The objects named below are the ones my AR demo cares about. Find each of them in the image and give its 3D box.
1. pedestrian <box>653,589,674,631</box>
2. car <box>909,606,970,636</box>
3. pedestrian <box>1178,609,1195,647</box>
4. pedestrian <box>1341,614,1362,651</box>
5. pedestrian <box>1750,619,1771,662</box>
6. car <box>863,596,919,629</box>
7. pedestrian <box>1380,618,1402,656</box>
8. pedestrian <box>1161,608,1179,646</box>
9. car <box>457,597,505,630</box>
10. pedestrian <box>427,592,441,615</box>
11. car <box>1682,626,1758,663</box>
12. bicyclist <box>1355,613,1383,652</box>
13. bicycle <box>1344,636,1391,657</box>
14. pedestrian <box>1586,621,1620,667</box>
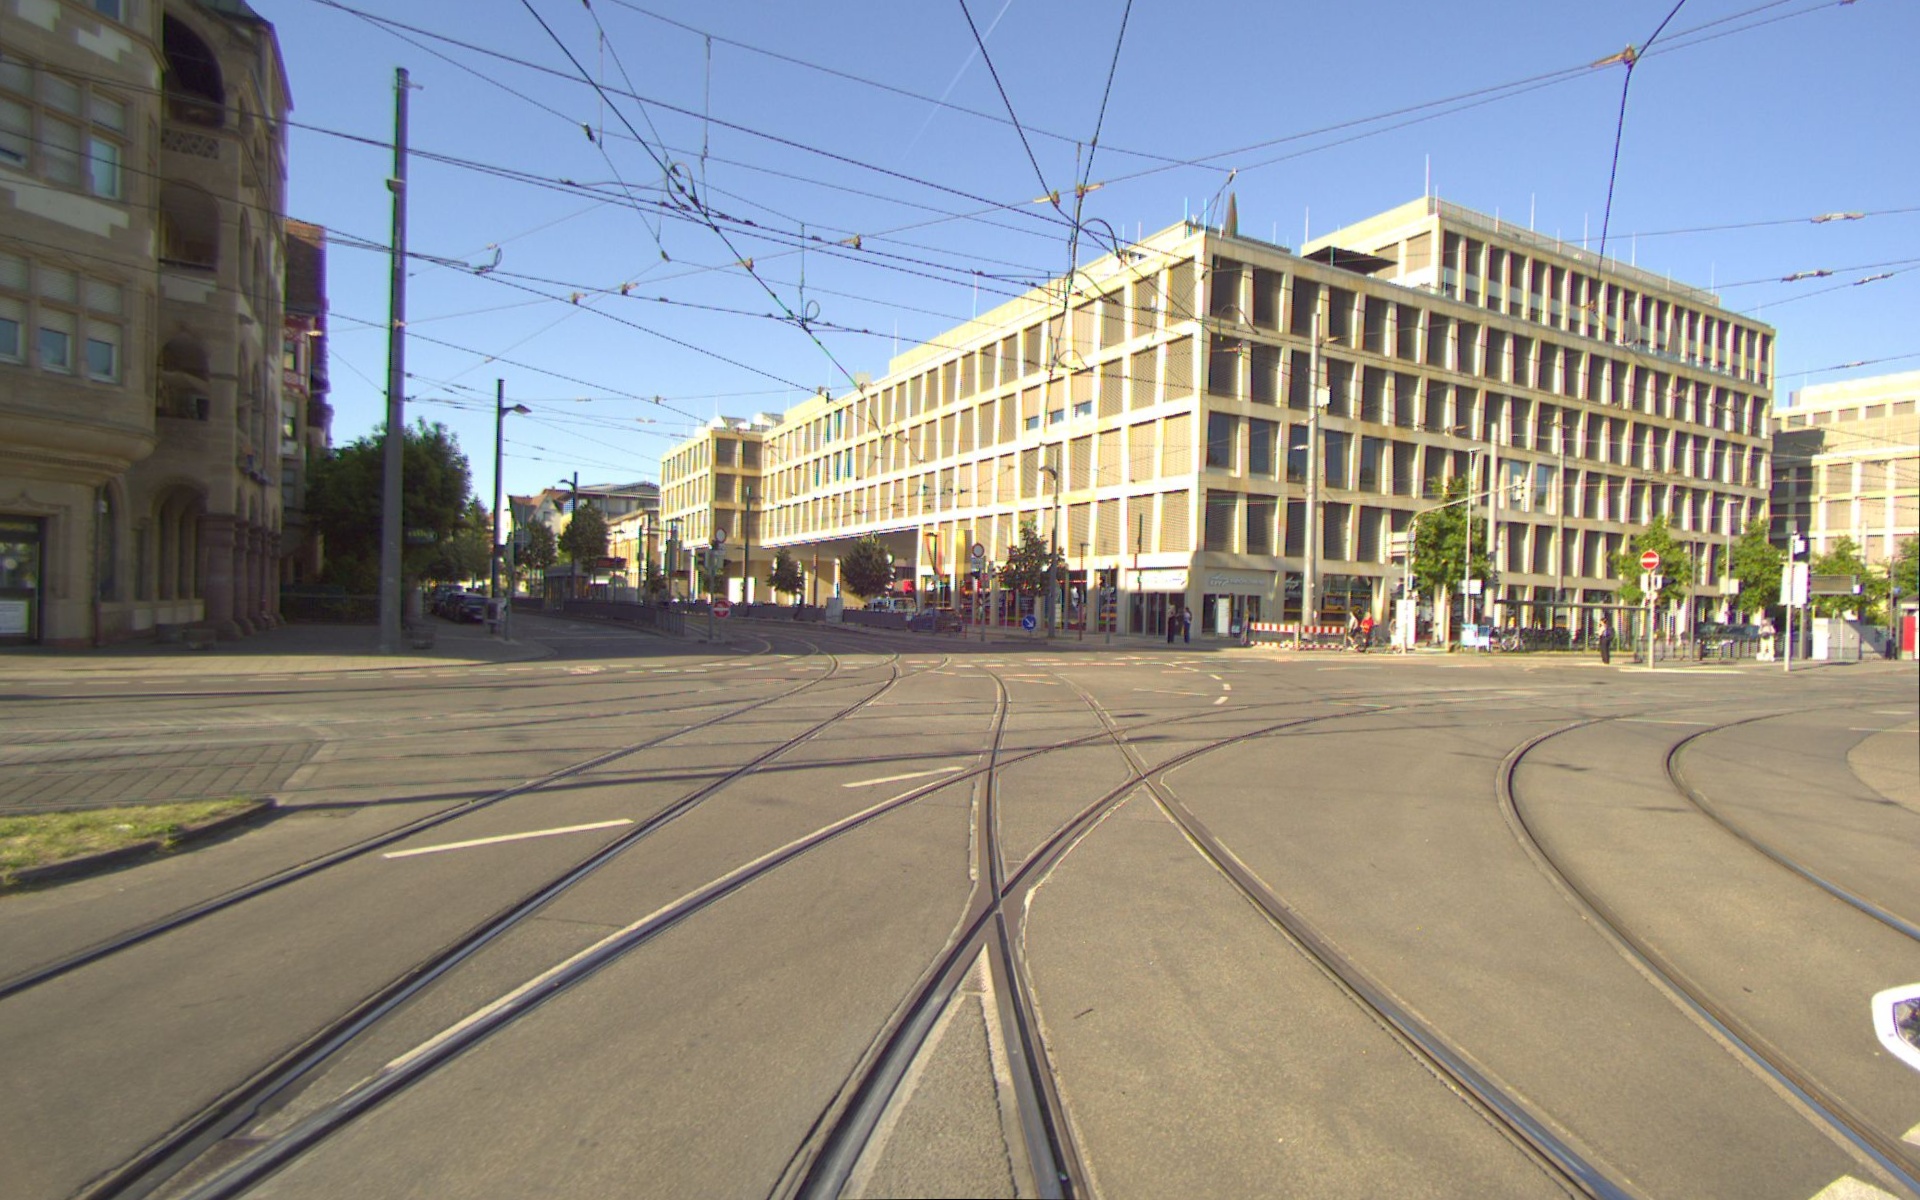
[{"bbox_3d":[-14.319,0.492,48.482,0.864,1.991,0.545,1,0,-28],"label":"pedestrian"},{"bbox_3d":[-1.260,1.197,59.188,1.832,1.635,4.037,2,0,-31],"label":"car"},{"bbox_3d":[10.136,1.259,44.996,0.526,1.658,0.588,1,0,-8],"label":"pedestrian"},{"bbox_3d":[17.192,1.405,44.110,0.585,1.595,0.582,1,0,-13],"label":"pedestrian"},{"bbox_3d":[32.023,1.618,40.190,0.609,1.686,0.512,1,0,37],"label":"pedestrian"},{"bbox_3d":[-4.389,0.779,63.835,1.893,1.939,4.037,2,0,-31],"label":"car"},{"bbox_3d":[17.882,1.527,41.657,0.574,1.546,0.593,1,0,-21],"label":"pedestrian"},{"bbox_3d":[9.503,1.220,45.443,0.528,1.658,0.586,1,0,-21],"label":"pedestrian"},{"bbox_3d":[-22.423,0.596,46.948,1.678,1.443,3.897,2,0,-30],"label":"car"},{"bbox_3d":[-36.278,0.235,69.299,0.617,1.615,0.546,1,0,22],"label":"pedestrian"},{"bbox_3d":[40.610,2.366,53.649,4.064,1.836,1.833,2,-1,-30],"label":"car"},{"bbox_3d":[16.872,1.342,41.432,0.773,1.546,0.703,1,0,-21],"label":"bicyclist"},{"bbox_3d":[16.810,1.896,41.467,0.610,0.786,1.971,2,0,-20],"label":"bicycle"},{"bbox_3d":[22.558,1.542,35.238,0.616,1.552,0.754,1,0,-25],"label":"pedestrian"}]
